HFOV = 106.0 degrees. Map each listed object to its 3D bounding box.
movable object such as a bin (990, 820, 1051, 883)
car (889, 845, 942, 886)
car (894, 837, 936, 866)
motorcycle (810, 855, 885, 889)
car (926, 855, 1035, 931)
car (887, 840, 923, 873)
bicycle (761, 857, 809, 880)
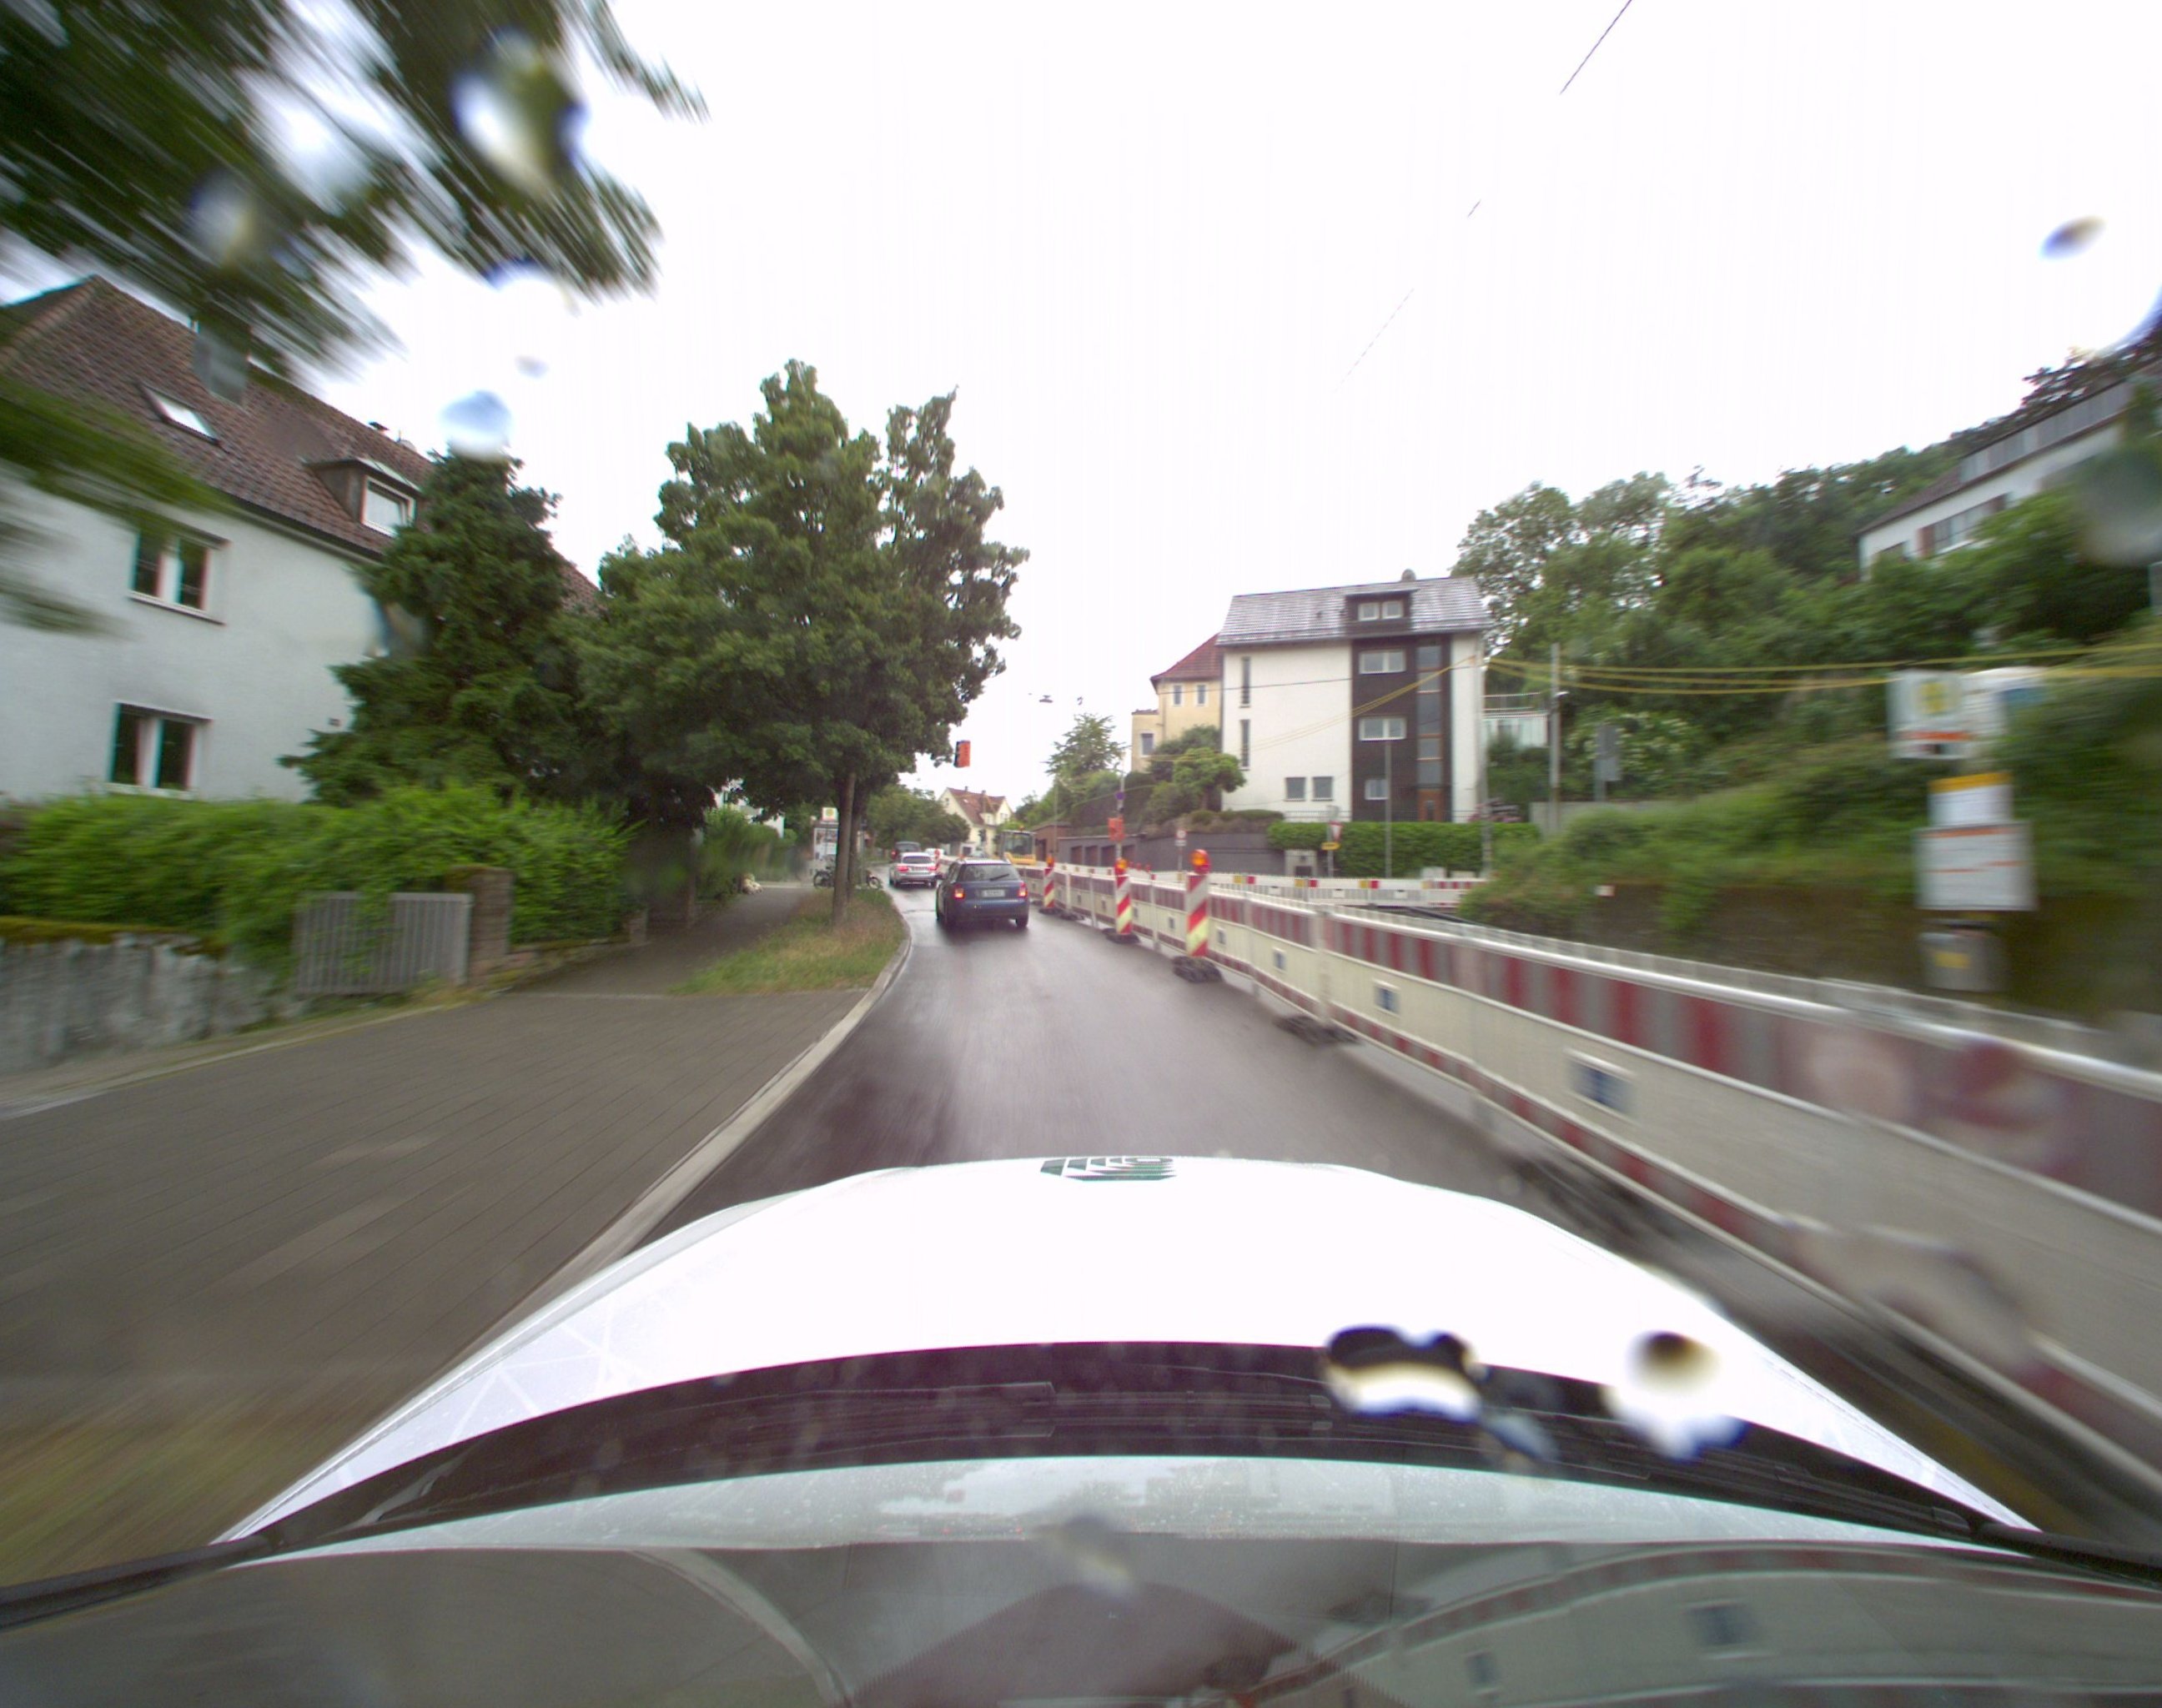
[{"bbox_3d":[-2.750,-0.161,36.257,1.997,2.613,3.980,-1,2,-15],"label":"movable object such as a bin"},{"bbox_3d":[-7.321,0.513,35.717,1.931,1.618,4.296,-1,-1,-16],"label":"car"},{"bbox_3d":[-12.299,-0.154,60.109,2.004,2.014,3.965,-1,-1,-27],"label":"car"},{"bbox_3d":[-8.548,0.664,29.923,2.603,1.234,0.885,1,-1,-16],"label":"motorcycle"},{"bbox_3d":[-2.338,0.773,18.076,1.790,1.442,3.942,-1,0,-16],"label":"car"},{"bbox_3d":[-10.888,0.170,50.258,1.996,1.794,3.981,-2,-2,-13],"label":"car"},{"bbox_3d":[-14.207,0.686,39.144,2.152,1.003,0.632,-1,-1,-18],"label":"bicycle"}]
